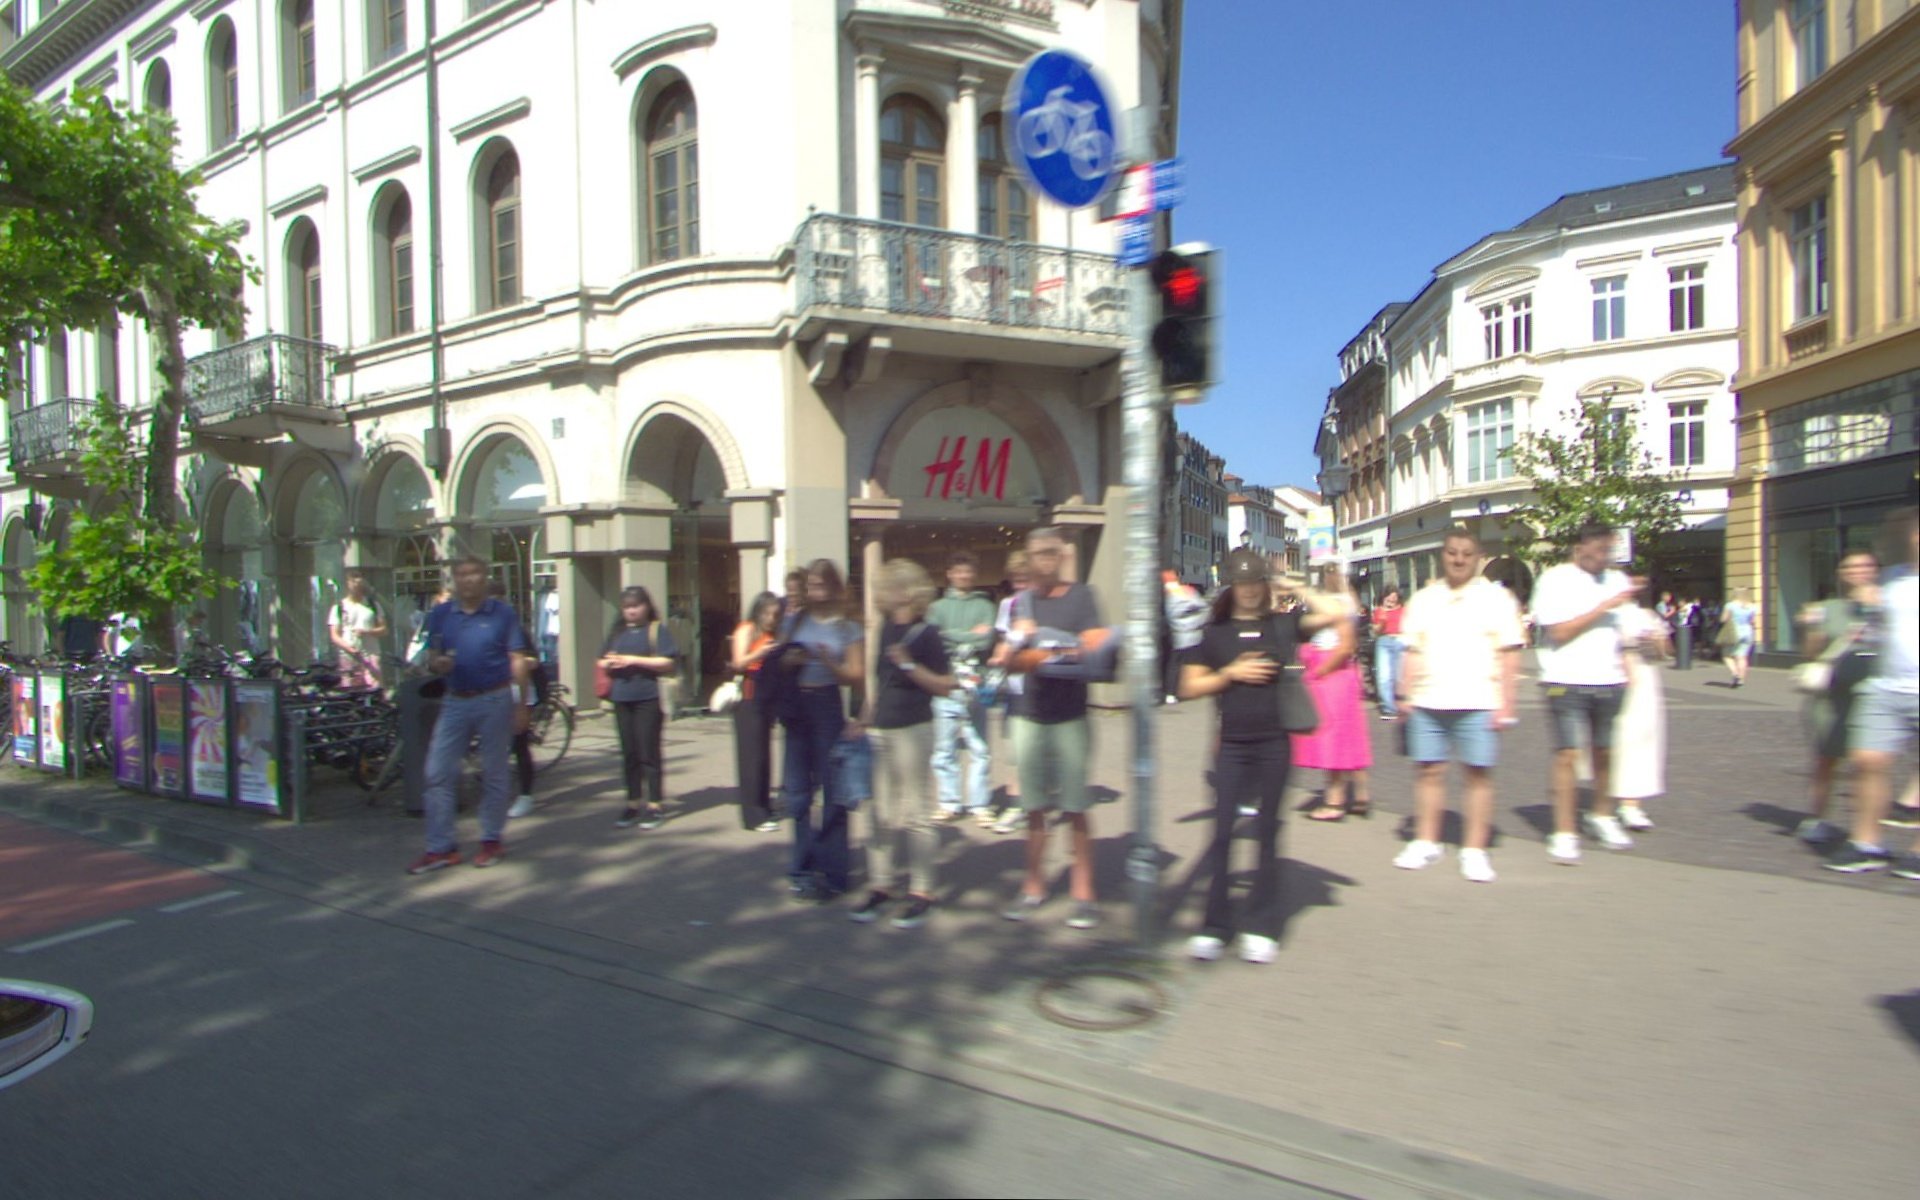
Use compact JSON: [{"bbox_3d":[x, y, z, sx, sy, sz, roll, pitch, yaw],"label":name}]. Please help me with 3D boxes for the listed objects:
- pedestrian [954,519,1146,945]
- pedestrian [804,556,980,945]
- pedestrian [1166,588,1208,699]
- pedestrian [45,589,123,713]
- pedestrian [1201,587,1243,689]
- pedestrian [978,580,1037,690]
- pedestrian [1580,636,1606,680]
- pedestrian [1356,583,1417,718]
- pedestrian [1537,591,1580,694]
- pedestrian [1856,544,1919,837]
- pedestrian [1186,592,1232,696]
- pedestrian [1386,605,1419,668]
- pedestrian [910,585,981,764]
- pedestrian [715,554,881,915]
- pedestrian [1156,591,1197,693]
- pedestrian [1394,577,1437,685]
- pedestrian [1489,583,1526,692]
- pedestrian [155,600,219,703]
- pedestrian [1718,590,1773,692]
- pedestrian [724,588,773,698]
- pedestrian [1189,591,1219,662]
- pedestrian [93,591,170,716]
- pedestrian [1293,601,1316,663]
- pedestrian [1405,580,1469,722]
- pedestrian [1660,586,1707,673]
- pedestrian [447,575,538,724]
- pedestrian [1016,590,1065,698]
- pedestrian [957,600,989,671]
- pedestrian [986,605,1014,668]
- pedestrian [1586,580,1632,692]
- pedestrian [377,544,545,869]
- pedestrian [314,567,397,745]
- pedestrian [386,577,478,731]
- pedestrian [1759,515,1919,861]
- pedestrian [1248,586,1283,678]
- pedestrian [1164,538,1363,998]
[{"bbox_3d":[0.430,0.565,4.662,0.688,1.809,0.576,-1,1,28],"label":"pedestrian"},{"bbox_3d":[-0.313,0.661,4.765,0.582,1.707,0.566,-1,2,29],"label":"pedestrian"},{"bbox_3d":[3.175,0.610,14.054,0.530,1.531,0.578,0,-2,8],"label":"pedestrian"},{"bbox_3d":[-14.085,0.814,16.101,0.765,1.926,0.700,-1,-2,29],"label":"pedestrian"},{"bbox_3d":[4.190,0.610,16.065,0.580,1.588,0.578,0,-2,8],"label":"pedestrian"},{"bbox_3d":[0.766,0.571,16.088,0.694,1.713,0.708,-1,-2,33],"label":"pedestrian"},{"bbox_3d":[12.971,1.192,20.528,0.276,0.889,0.383,0,-2,1],"label":"pedestrian"},{"bbox_3d":[5.506,0.648,12.910,0.613,1.668,0.795,-1,-2,31],"label":"pedestrian"},{"bbox_3d":[10.461,0.736,17.501,0.613,1.762,0.576,-1,-2,32],"label":"pedestrian"},{"bbox_3d":[6.306,0.549,6.117,1.172,1.780,0.618,-1,-2,39],"label":"pedestrian"},{"bbox_3d":[3.741,0.655,15.090,0.610,1.531,0.578,0,-2,8],"label":"pedestrian"},{"bbox_3d":[10.731,0.887,24.271,0.512,1.520,0.626,0,-2,1],"label":"pedestrian"},{"bbox_3d":[-0.140,0.679,9.319,0.509,1.604,0.581,1,-2,-19],"label":"pedestrian"},{"bbox_3d":[-0.820,0.650,5.139,0.612,1.706,0.576,-1,-2,28],"label":"pedestrian"},{"bbox_3d":[3.569,0.693,16.536,0.610,1.648,0.578,0,-2,8],"label":"pedestrian"},{"bbox_3d":[8.060,0.548,17.718,0.613,1.868,0.576,-1,-2,32],"label":"pedestrian"},{"bbox_3d":[9.656,0.667,17.664,0.528,1.868,0.690,-1,-2,31],"label":"pedestrian"},{"bbox_3d":[-13.174,0.873,17.065,0.666,1.717,0.655,-1,-2,32],"label":"pedestrian"},{"bbox_3d":[12.635,0.660,16.120,0.613,1.609,0.576,-1,-2,32],"label":"pedestrian"},{"bbox_3d":[-3.330,0.676,15.757,0.612,1.689,0.685,1,-2,-24],"label":"pedestrian"},{"bbox_3d":[5.699,0.626,23.411,0.610,1.631,0.578,0,-2,8],"label":"pedestrian"},{"bbox_3d":[-12.459,0.795,15.058,0.765,1.815,0.633,-1,-2,29],"label":"pedestrian"},{"bbox_3d":[9.706,0.896,28.198,0.458,1.724,0.530,0,-1,1],"label":"pedestrian"},{"bbox_3d":[6.201,0.655,13.016,0.689,1.776,0.576,-1,-2,32],"label":"pedestrian"},{"bbox_3d":[14.621,0.596,20.253,0.512,1.724,0.579,0,-1,1],"label":"pedestrian"},{"bbox_3d":[-5.909,0.621,12.665,0.765,1.805,0.719,-1,-2,29],"label":"pedestrian"},{"bbox_3d":[1.336,0.732,16.491,0.568,1.685,0.622,1,-8,21],"label":"pedestrian"},{"bbox_3d":[0.271,0.745,20.962,0.610,1.462,0.578,0,-2,6],"label":"pedestrian"},{"bbox_3d":[0.937,0.851,23.429,0.610,1.462,0.578,0,-2,6],"label":"pedestrian"},{"bbox_3d":[11.148,0.621,17.219,0.613,1.868,0.576,-1,-2,32],"label":"pedestrian"},{"bbox_3d":[-3.055,0.626,6.157,0.705,1.869,0.577,0,-2,20],"label":"pedestrian"},{"bbox_3d":[-6.695,0.612,11.104,0.593,1.906,0.545,-1,-2,29],"label":"pedestrian"},{"bbox_3d":[-6.315,0.641,11.988,0.742,1.762,0.674,-1,-2,29],"label":"pedestrian"},{"bbox_3d":[5.093,0.490,5.811,0.613,1.868,0.576,-1,-2,32],"label":"pedestrian"},{"bbox_3d":[6.318,0.672,20.713,0.610,1.868,0.578,0,-1,8],"label":"pedestrian"},{"bbox_3d":[1.256,0.626,4.107,0.659,1.707,0.576,-1,2,28],"label":"pedestrian"}]
